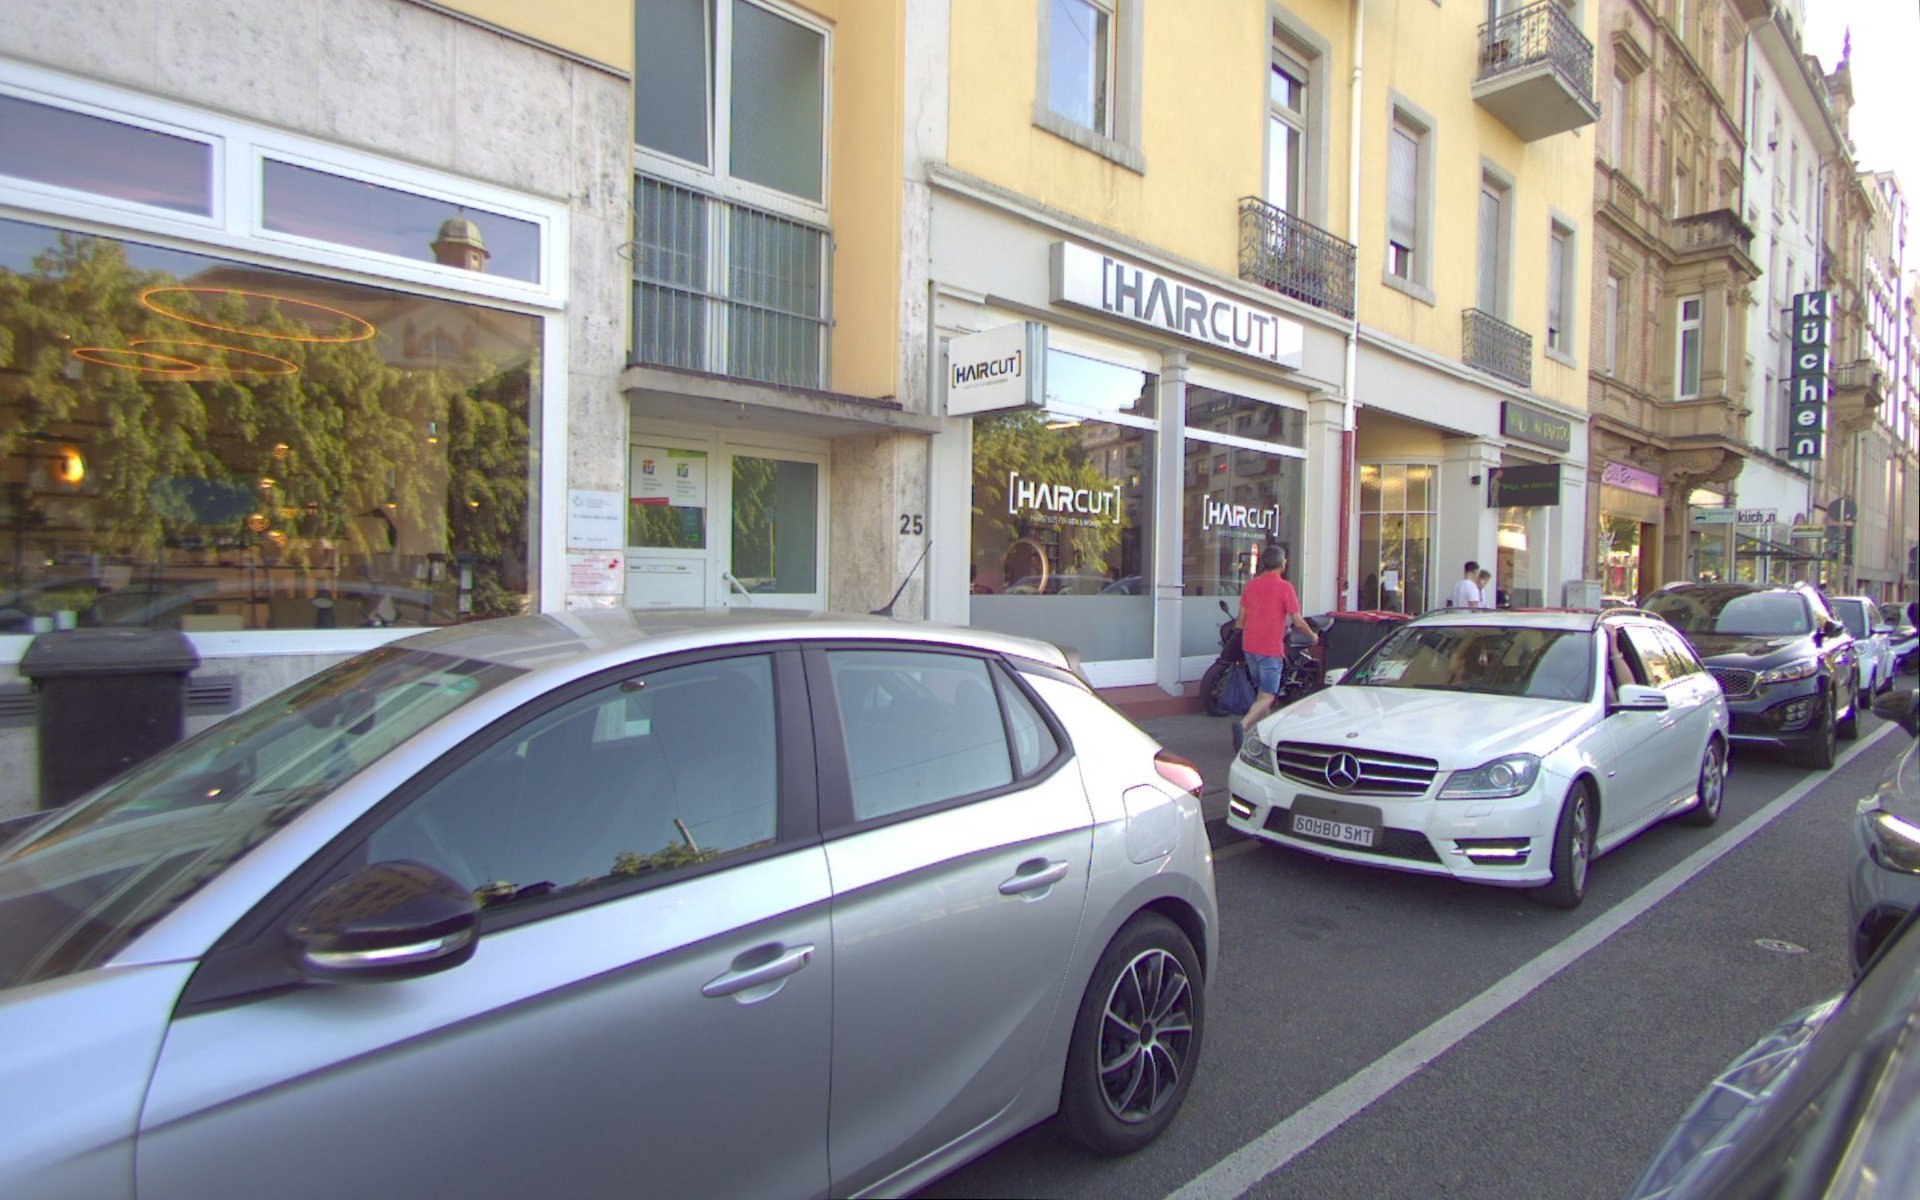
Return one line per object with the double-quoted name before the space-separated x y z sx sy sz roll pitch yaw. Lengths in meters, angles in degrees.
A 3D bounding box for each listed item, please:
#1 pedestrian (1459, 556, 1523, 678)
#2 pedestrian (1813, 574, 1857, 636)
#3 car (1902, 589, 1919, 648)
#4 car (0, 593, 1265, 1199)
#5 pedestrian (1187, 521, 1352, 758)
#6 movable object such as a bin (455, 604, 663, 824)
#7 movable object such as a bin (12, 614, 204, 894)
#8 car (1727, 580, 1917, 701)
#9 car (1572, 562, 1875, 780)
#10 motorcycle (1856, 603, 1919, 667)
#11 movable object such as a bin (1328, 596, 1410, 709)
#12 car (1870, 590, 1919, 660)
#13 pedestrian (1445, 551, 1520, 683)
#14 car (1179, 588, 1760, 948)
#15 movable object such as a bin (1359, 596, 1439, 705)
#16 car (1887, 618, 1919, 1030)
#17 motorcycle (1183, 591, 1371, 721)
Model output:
"pedestrian" 7.340 0.223 13.997 0.631 1.637 0.572 0 0 -40
"pedestrian" 23.540 0.112 27.226 0.750 1.637 0.794 0 1 -43
"car" 26.418 0.480 26.873 3.931 1.504 1.713 0 1 -42
"car" -1.015 0.701 2.332 3.642 1.415 1.652 0 1 -42
"pedestrian" 2.569 0.274 8.412 0.992 1.805 0.865 -1 5 -45
"movable object such as a bin" -2.220 0.570 5.600 0.878 1.066 0.752 0 1 -40
"movable object such as a bin" -3.679 0.601 4.393 0.591 1.041 0.812 0 1 -40
"car" 12.761 0.518 14.947 2.965 1.587 1.695 0 1 -40
"car" 7.913 0.535 10.294 1.853 1.719 4.623 1 1 45
"motorcycle" 19.305 0.708 20.530 1.514 1.248 0.771 1 0 1
"movable object such as a bin" 4.653 0.572 11.513 0.633 1.222 0.647 0 0 -40
"car" 22.206 0.531 23.100 3.931 1.504 1.713 0 1 -42
"pedestrian" 6.713 0.206 13.007 0.689 1.637 0.641 0 0 -42
"car" 3.453 0.679 6.373 4.519 1.480 1.757 0 1 -42
"movable object such as a bin" 5.163 0.566 11.902 0.633 1.222 0.647 0 0 -40
"car" 5.401 0.779 4.264 4.183 1.396 1.846 0 1 -42
"motorcycle" 3.338 0.523 10.540 2.208 1.179 0.773 0 4 -41
